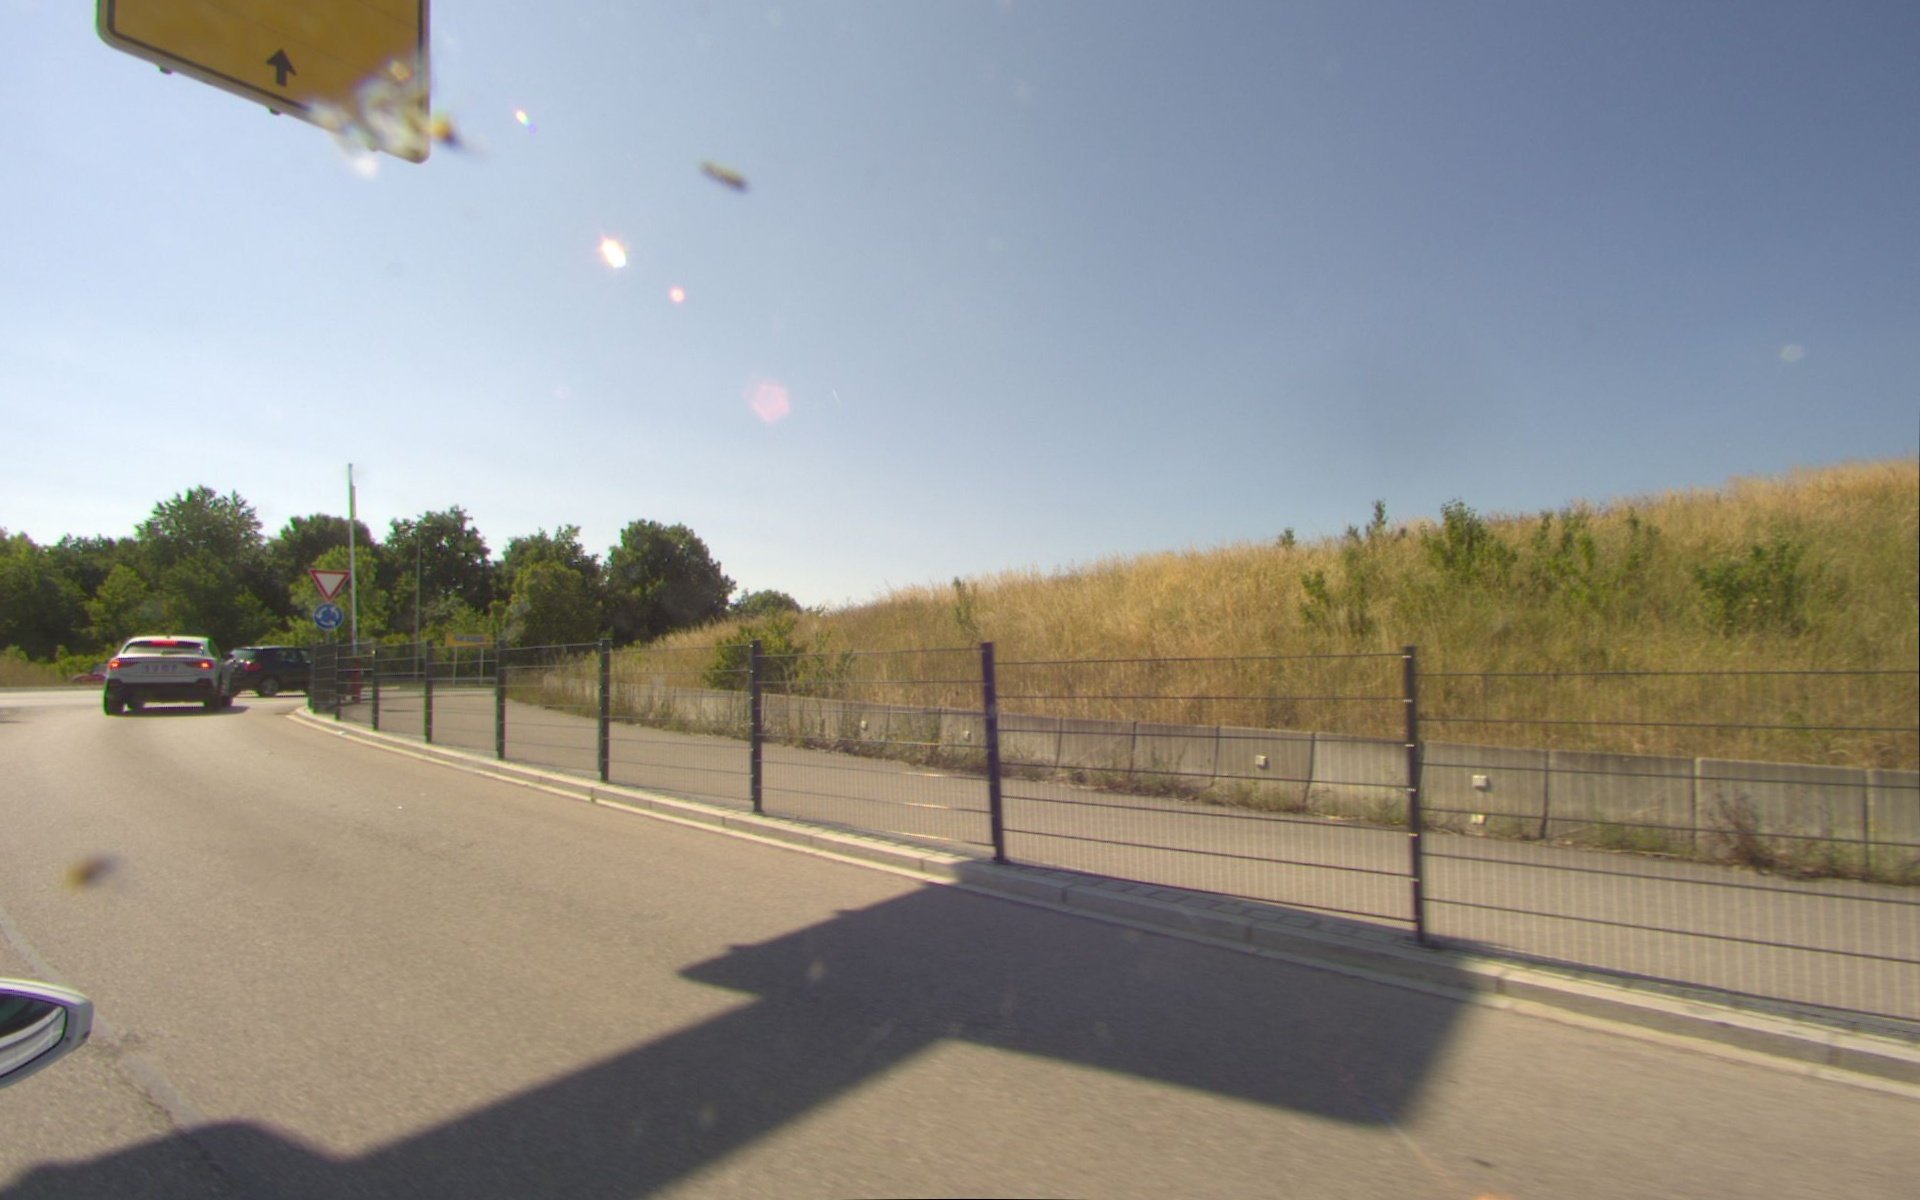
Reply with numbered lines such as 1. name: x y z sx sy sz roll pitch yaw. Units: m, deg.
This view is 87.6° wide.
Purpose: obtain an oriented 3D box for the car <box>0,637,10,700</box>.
1. car: -24.604 1.483 22.226 1.975 1.469 4.843 -2 -5 38

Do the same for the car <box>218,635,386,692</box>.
1. car: -20.234 1.979 30.946 1.794 1.637 3.942 -2 -5 34

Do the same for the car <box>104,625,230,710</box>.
1. car: -16.710 1.416 21.286 1.825 1.615 4.297 2 -4 -35
